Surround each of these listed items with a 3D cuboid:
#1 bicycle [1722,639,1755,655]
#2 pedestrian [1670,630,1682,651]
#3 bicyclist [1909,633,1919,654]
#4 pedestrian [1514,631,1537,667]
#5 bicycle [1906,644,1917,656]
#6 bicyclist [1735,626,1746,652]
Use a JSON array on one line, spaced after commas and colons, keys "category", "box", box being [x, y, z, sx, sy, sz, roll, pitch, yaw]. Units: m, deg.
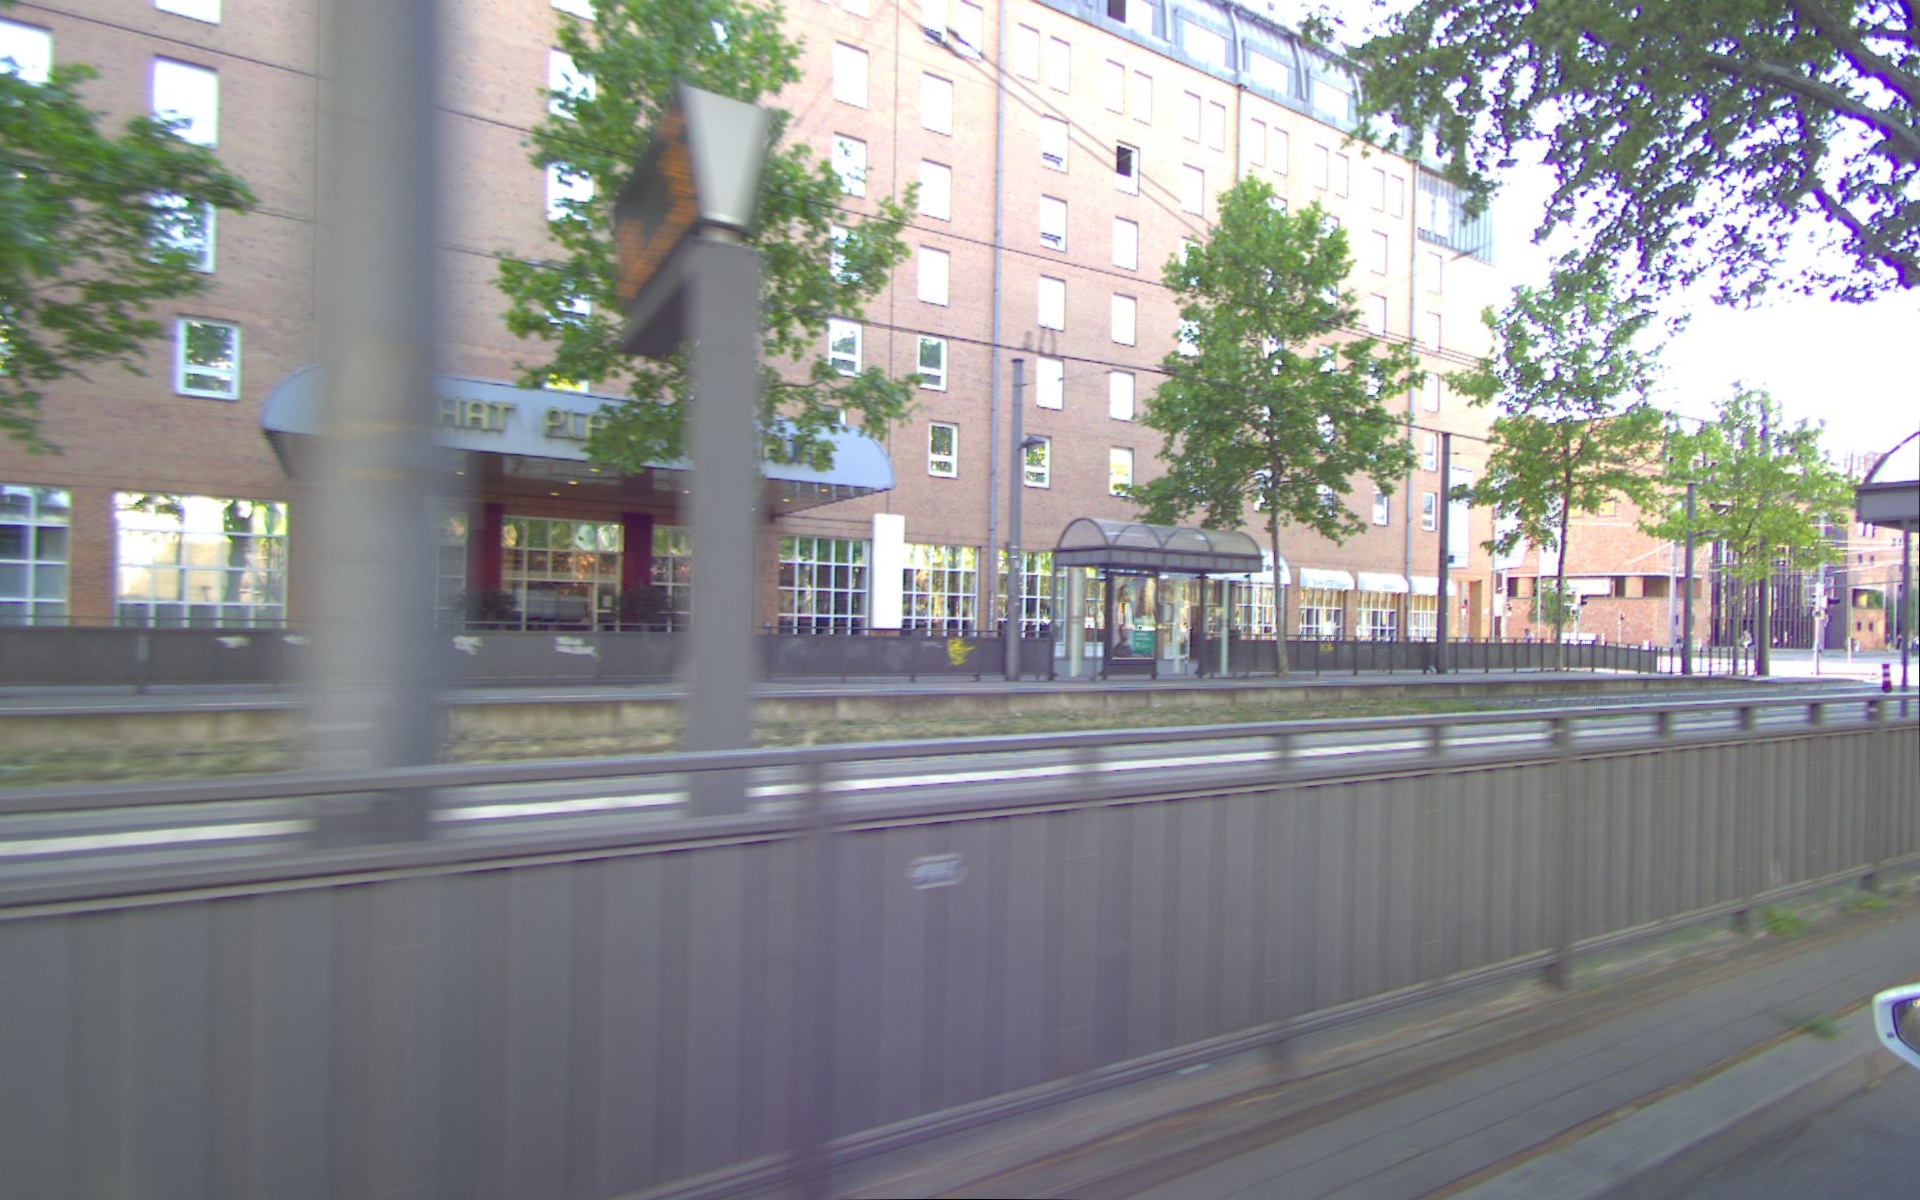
[{"category": "bicycle", "box": [63.107, 3.774, 81.420, 2.054, 1.256, 0.453, 0, -1, 16]}, {"category": "pedestrian", "box": [57.785, 3.285, 81.030, 0.560, 1.635, 0.545, 1, -1, -2]}, {"category": "bicyclist", "box": [77.766, 3.522, 81.855, 0.783, 1.697, 0.588, 2, -1, -40]}, {"category": "pedestrian", "box": [25.783, 2.220, 45.784, 0.718, 1.606, 0.585, 2, 1, -34]}, {"category": "bicycle", "box": [77.582, 4.085, 81.923, 1.825, 0.893, 0.508, 2, -1, -42]}, {"category": "bicyclist", "box": [63.267, 3.167, 81.382, 0.551, 2.087, 0.451, 1, -1, 16]}]
